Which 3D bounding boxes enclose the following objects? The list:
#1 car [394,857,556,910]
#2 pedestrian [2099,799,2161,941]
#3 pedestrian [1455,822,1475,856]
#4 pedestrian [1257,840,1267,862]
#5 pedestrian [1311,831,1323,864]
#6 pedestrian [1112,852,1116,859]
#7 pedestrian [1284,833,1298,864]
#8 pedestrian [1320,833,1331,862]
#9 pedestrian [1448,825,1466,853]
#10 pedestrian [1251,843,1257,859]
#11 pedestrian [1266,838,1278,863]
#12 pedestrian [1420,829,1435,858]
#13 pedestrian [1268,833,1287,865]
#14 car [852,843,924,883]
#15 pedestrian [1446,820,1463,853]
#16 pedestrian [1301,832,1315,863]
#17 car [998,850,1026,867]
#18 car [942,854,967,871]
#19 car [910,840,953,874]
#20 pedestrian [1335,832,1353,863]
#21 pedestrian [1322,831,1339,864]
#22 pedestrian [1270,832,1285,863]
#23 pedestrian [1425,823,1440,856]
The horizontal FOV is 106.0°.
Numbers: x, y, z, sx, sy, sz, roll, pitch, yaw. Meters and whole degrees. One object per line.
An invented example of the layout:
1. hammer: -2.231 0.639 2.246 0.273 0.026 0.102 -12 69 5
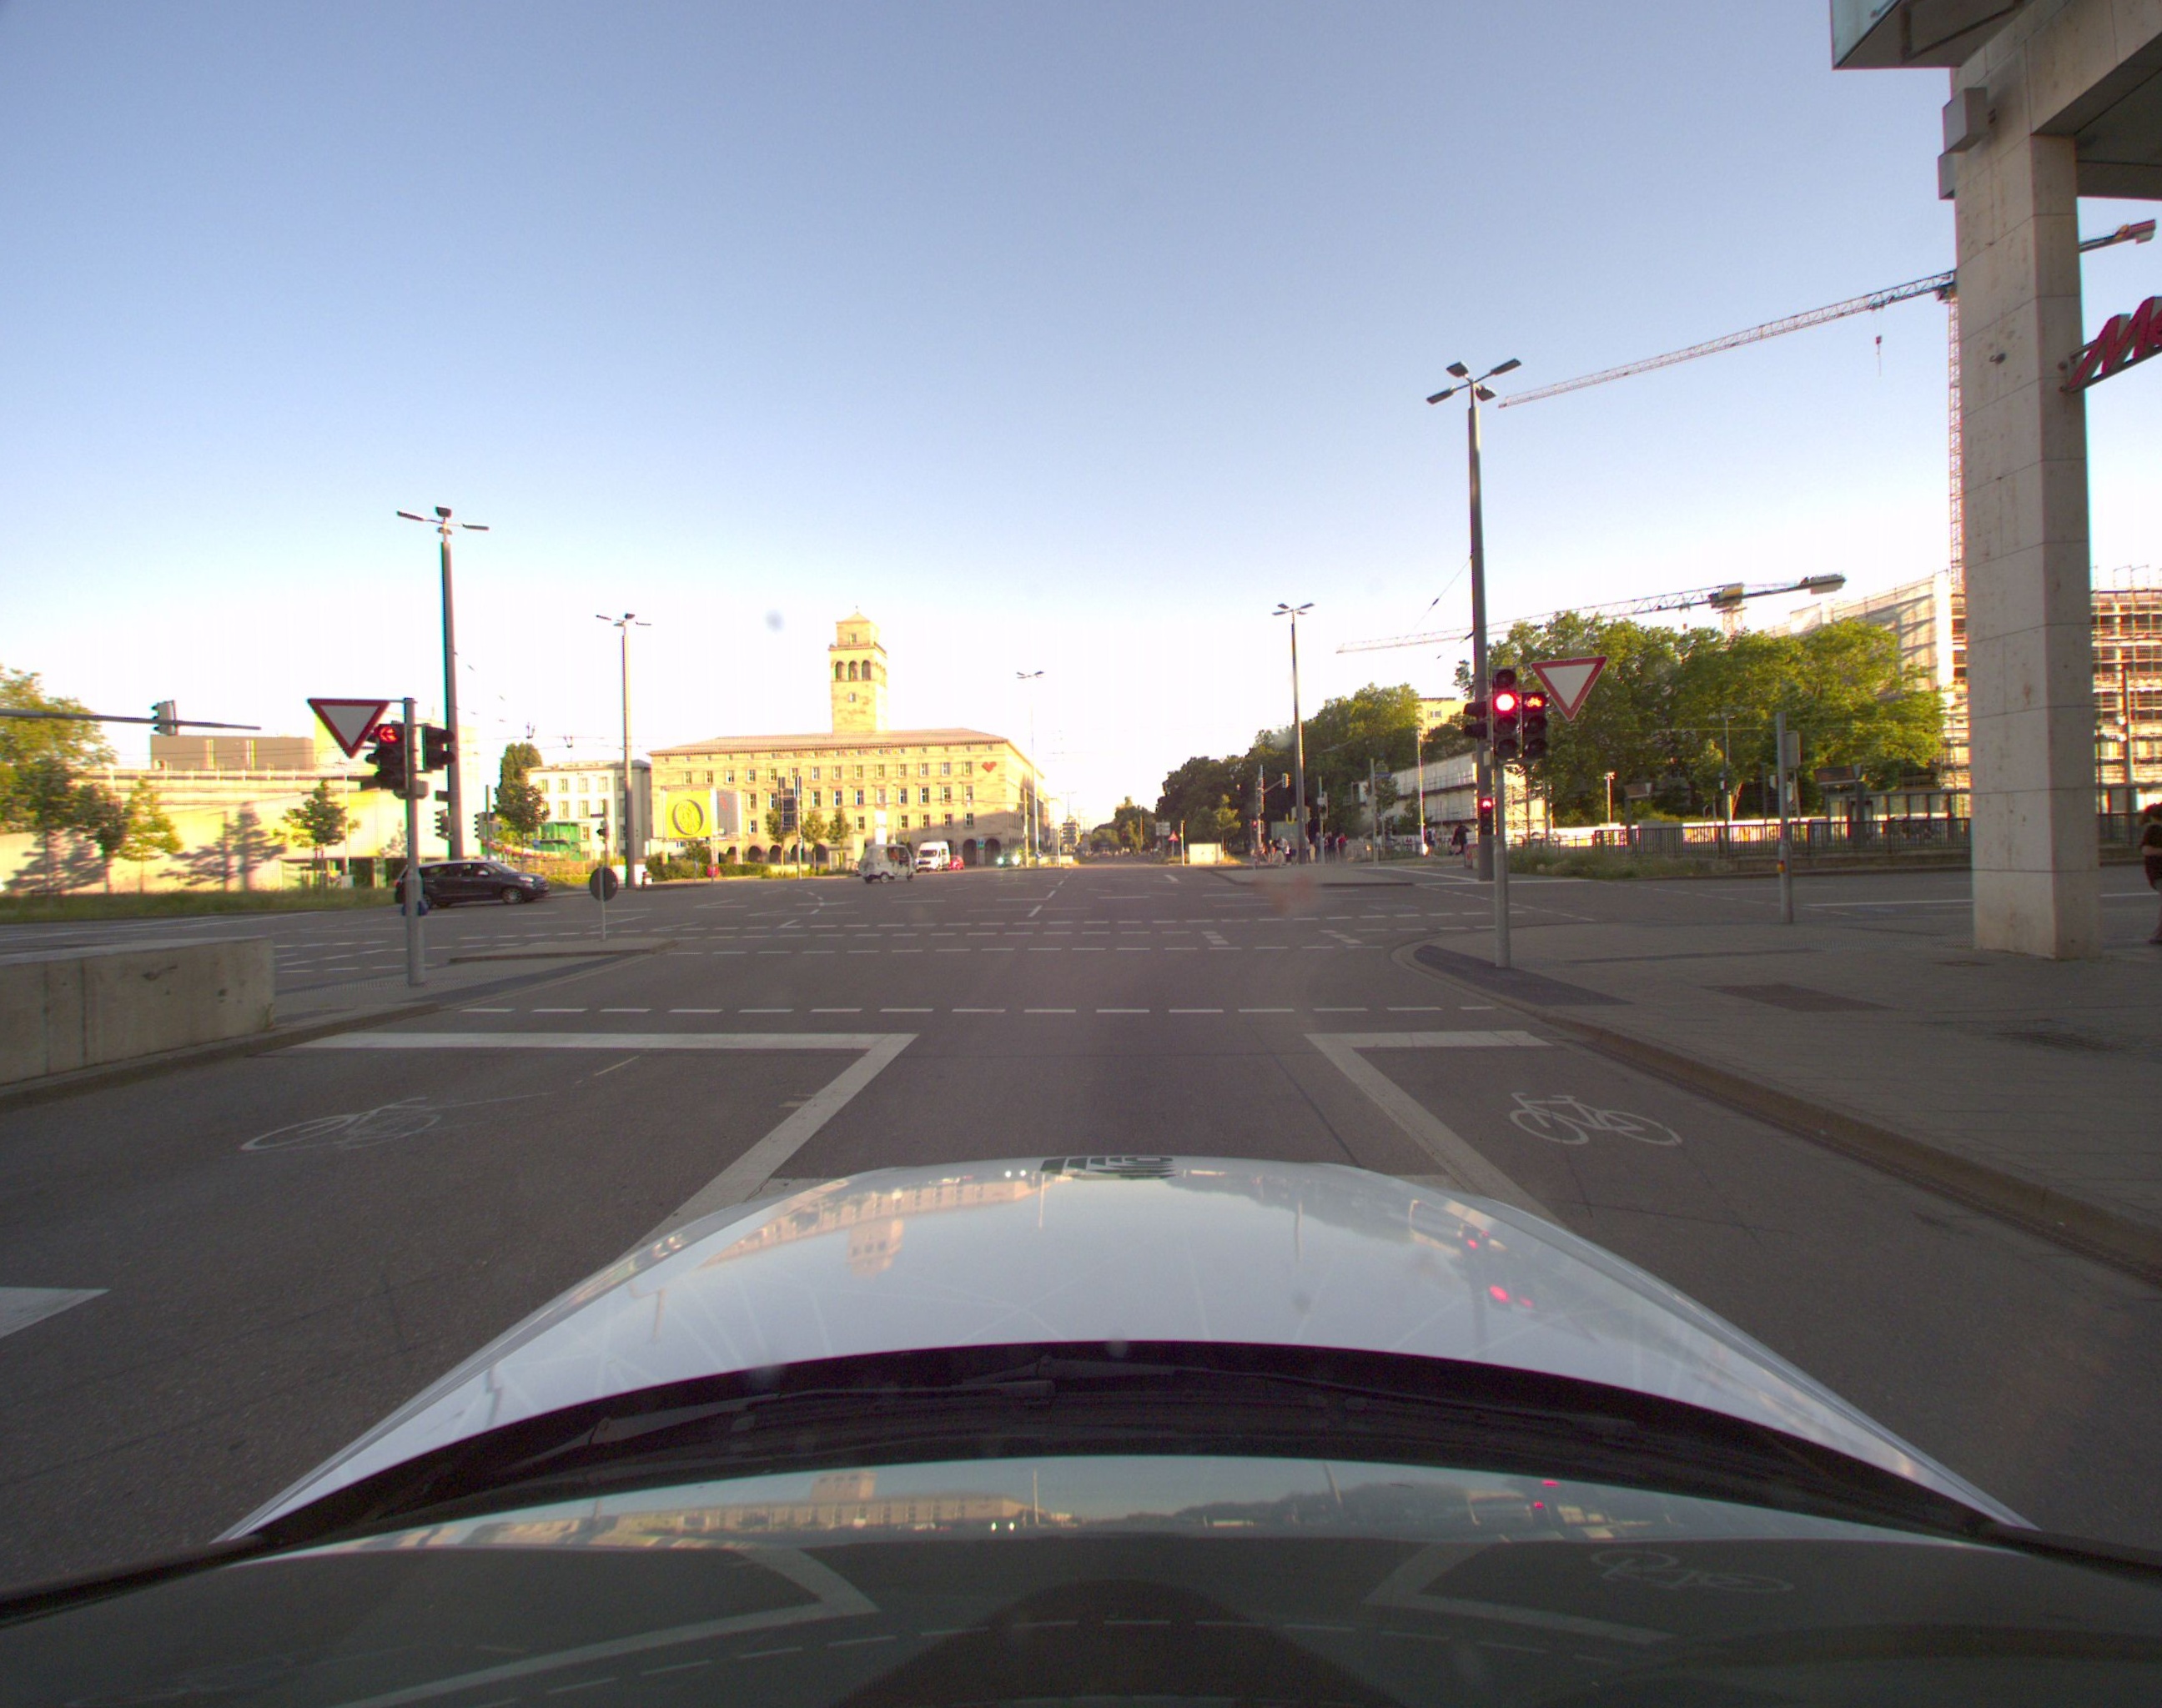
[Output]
1. car: -21.112 1.000 28.569 4.132 1.604 1.734 -2 0 -18
2. pedestrian: 12.857 0.174 9.598 0.788 1.638 0.708 -2 0 2
3. pedestrian: 20.035 -0.772 42.494 0.665 1.725 0.712 -2 0 -4
4. pedestrian: 13.465 -0.234 60.553 0.555 1.654 0.907 -2 1 22
5. pedestrian: 13.175 -0.360 45.479 0.568 1.791 0.641 -2 1 16
6. pedestrian: 7.886 0.364 195.000 0.903 1.671 1.307 -2 1 1
7. pedestrian: 11.756 -0.305 45.563 0.705 1.725 0.671 -2 1 15
8. pedestrian: 14.113 -0.368 46.953 0.568 1.678 0.641 -2 1 16
9. pedestrian: 20.221 -0.804 43.792 0.672 1.441 0.716 -2 0 9
10. pedestrian: 19.305 -0.340 90.844 0.638 1.760 0.526 -2 1 10
11. pedestrian: 14.129 -0.256 60.363 0.673 1.757 0.907 -2 1 22
12. pedestrian: 19.002 -0.582 44.633 0.569 1.592 0.537 -2 0 1
13. pedestrian: 10.840 -0.301 44.982 0.905 1.725 0.716 -2 1 17
14. car: -8.813 0.387 37.319 1.469 1.696 2.993 -2 0 31
15. pedestrian: 19.771 -0.924 43.146 0.705 1.725 0.672 -2 0 19
16. pedestrian: 12.945 -0.398 46.368 0.705 1.725 0.919 -2 1 15
17. car: -6.169 0.393 72.957 1.815 1.341 4.005 -2 1 4
18. car: -12.638 0.852 81.667 1.732 1.487 4.002 -2 1 2
19. car: -13.288 0.233 72.980 2.269 2.776 6.090 -2 0 4
20. pedestrian: 14.792 -0.371 45.818 0.838 1.734 0.708 -2 1 14
21. pedestrian: 13.928 -0.366 45.473 0.799 1.791 0.804 -2 1 16
22. pedestrian: 11.038 -0.353 45.737 0.705 1.725 0.671 -2 1 17
23. pedestrian: 18.861 -0.759 43.684 0.660 1.725 0.717 -2 0 20
